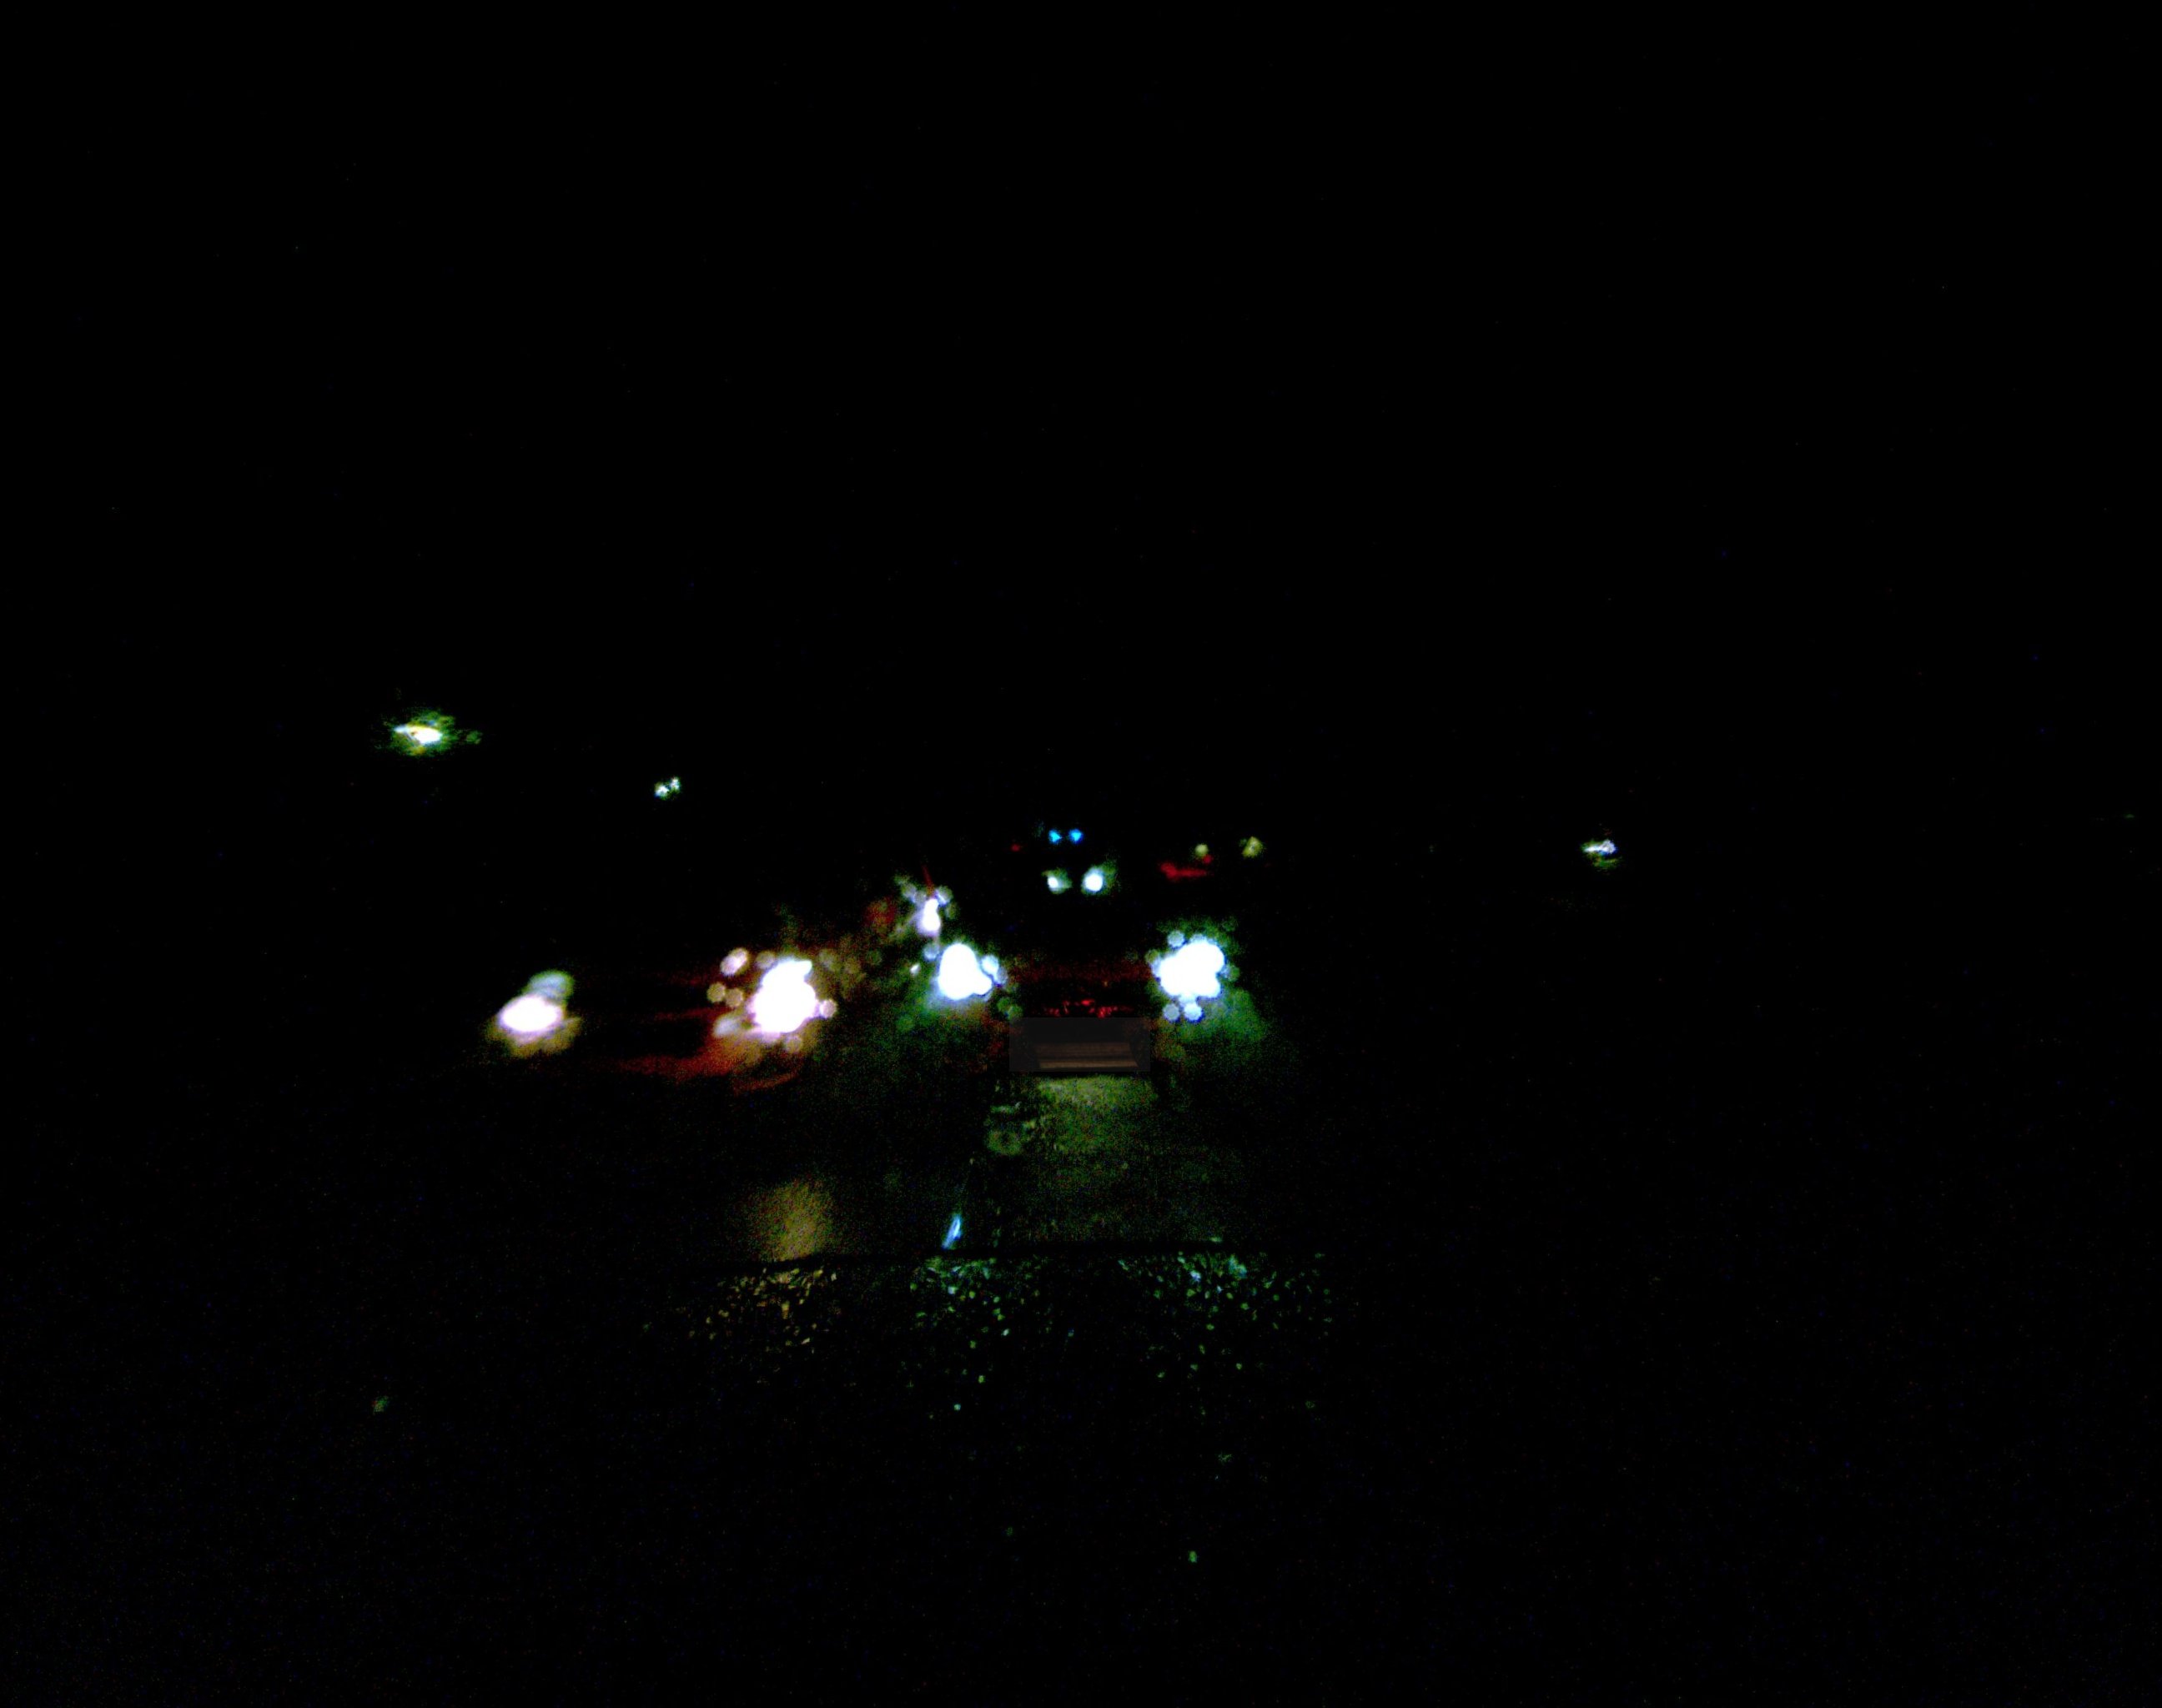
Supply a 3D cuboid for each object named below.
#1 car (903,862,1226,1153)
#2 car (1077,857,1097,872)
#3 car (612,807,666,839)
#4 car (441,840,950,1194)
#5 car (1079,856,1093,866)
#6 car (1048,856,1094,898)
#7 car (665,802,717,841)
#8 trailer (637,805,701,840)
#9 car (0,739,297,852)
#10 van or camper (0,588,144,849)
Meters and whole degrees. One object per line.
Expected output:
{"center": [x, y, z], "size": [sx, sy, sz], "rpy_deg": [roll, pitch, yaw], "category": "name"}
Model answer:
{"center": [-0.090, 0.897, 6.697], "size": [1.810, 1.590, 4.786], "rpy_deg": [-1, 0, 0], "category": "car"}
{"center": [0.590, 1.084, 79.540], "size": [1.699, 1.426, 4.291], "rpy_deg": [-2, 1, -5], "category": "car"}
{"center": [-24.512, -1.698, 42.275], "size": [1.619, 1.630, 3.994], "rpy_deg": [-2, 1, -16], "category": "car"}
{"center": [-2.438, 0.868, 6.361], "size": [1.759, 1.807, 4.710], "rpy_deg": [-2, 0, 0], "category": "car"}
{"center": [0.722, 1.049, 114.507], "size": [1.923, 1.435, 4.544], "rpy_deg": [-2, 0, -3], "category": "car"}
{"center": [-0.420, 0.844, 29.151], "size": [1.625, 1.477, 3.785], "rpy_deg": [-1, -1, -2], "category": "car"}
{"center": [-28.038, -2.275, 54.822], "size": [2.122, 2.620, 5.443], "rpy_deg": [-1, 0, -14], "category": "car"}
{"center": [-26.665, -1.994, 49.425], "size": [2.234, 2.060, 5.713], "rpy_deg": [-1, 0, -14], "category": "trailer"}
{"center": [-16.216, -0.887, 13.291], "size": [1.642, 1.608, 4.128], "rpy_deg": [-2, 0, -17], "category": "car"}
{"center": [-12.924, -1.530, 6.846], "size": [2.591, 2.891, 6.348], "rpy_deg": [-1, 0, -19], "category": "van or camper"}
